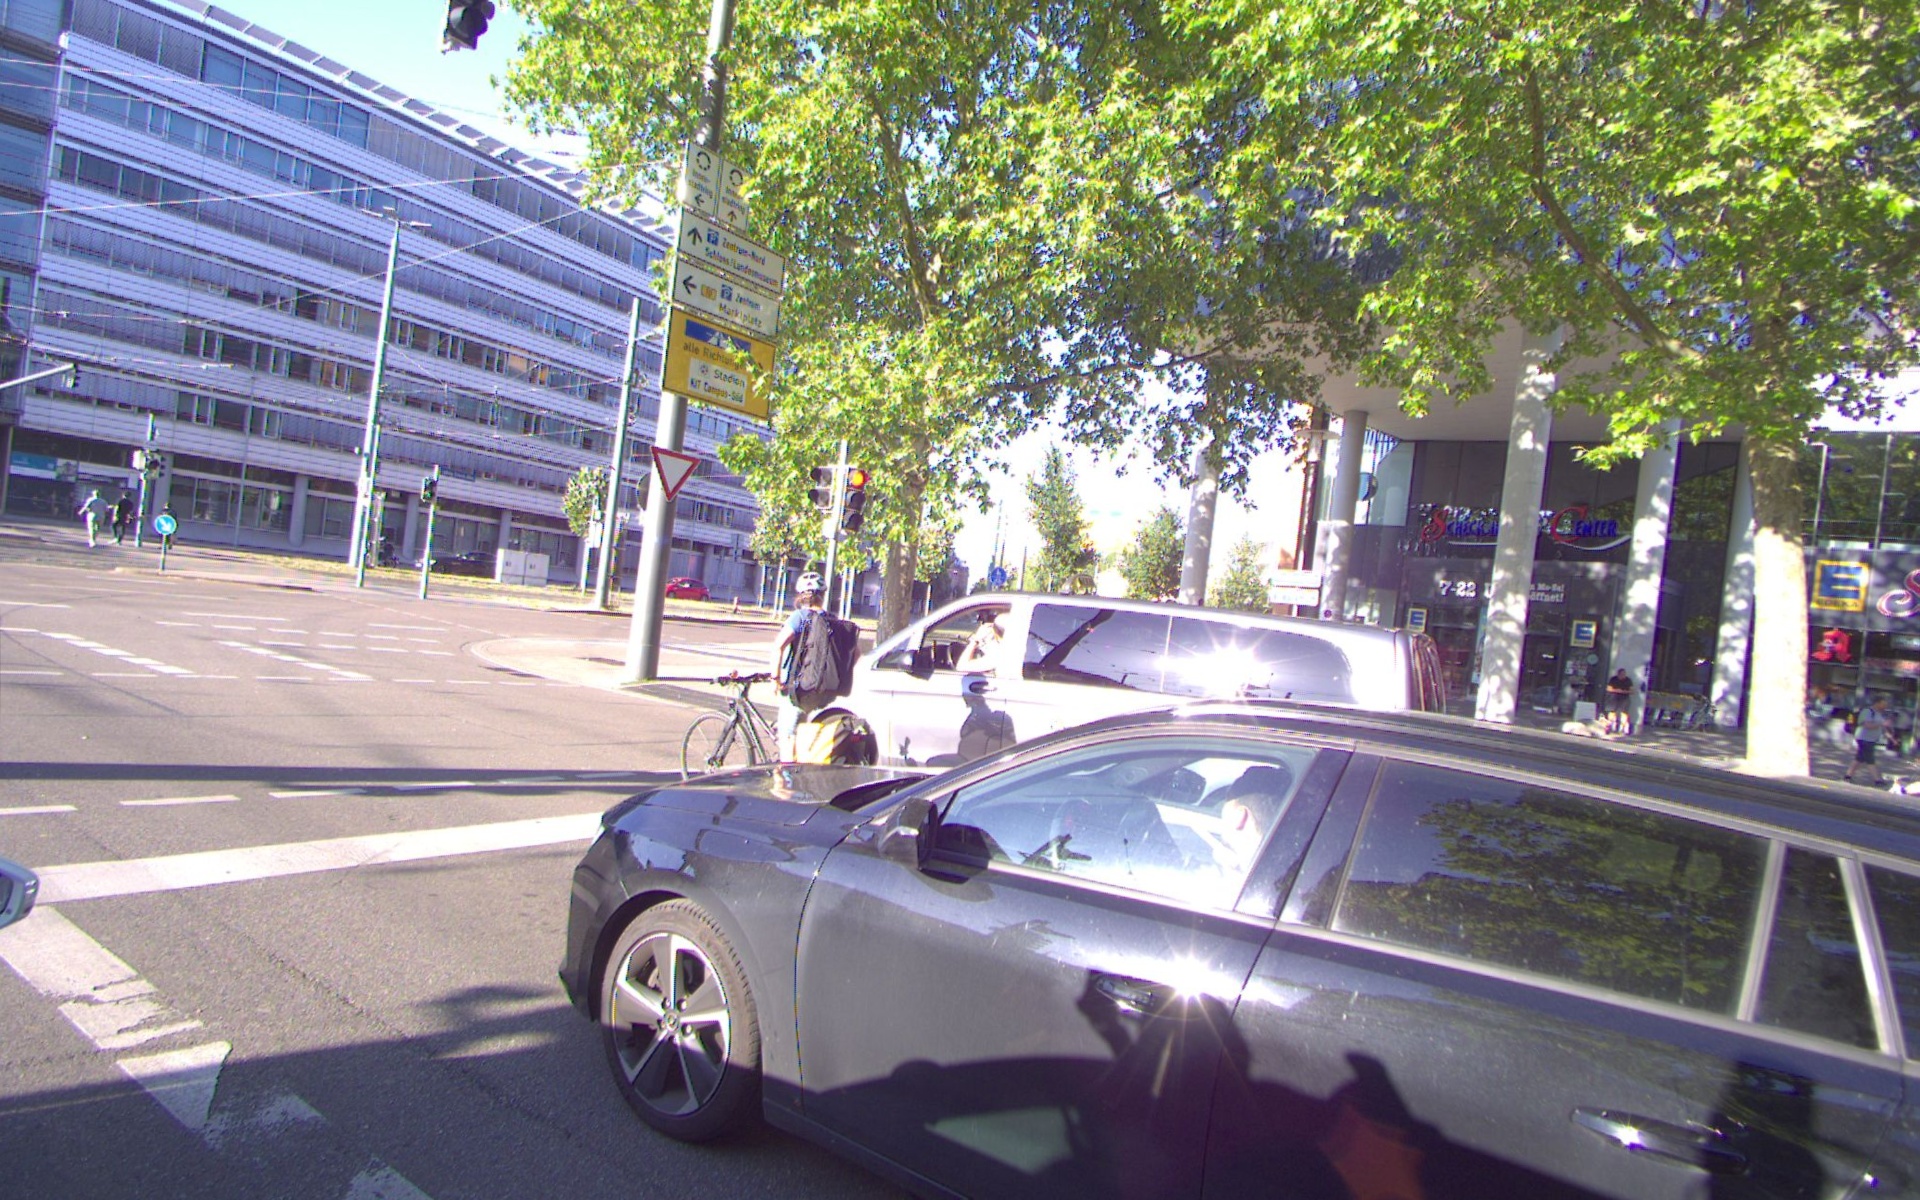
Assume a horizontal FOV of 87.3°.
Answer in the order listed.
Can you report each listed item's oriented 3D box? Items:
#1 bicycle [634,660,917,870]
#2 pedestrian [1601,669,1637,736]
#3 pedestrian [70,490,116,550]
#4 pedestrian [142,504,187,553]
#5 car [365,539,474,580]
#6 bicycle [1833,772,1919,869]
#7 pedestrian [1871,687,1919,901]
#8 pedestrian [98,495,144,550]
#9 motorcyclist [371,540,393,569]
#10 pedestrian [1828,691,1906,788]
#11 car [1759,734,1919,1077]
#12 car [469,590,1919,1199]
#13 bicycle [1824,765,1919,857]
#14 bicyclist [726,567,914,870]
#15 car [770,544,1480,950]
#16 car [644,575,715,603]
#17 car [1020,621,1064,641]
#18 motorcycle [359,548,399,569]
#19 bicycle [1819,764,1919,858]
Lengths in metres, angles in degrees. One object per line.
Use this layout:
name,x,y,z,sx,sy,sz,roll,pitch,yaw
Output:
bicycle,-1.247,1.014,6.606,1.839,0.993,0.561,7,1,32
pedestrian,17.536,2.738,26.767,0.598,1.707,0.511,6,1,-41
pedestrian,-28.401,-2.617,32.958,0.858,1.811,0.863,7,1,37
pedestrian,-28.121,-2.520,35.568,0.883,1.583,0.947,7,1,39
car,-25.665,-1.896,47.872,1.758,1.415,4.157,7,0,37
bicycle,10.545,2.480,11.095,1.233,0.898,0.462,7,1,32
pedestrian,8.550,1.698,8.667,0.751,1.799,0.647,7,1,31
pedestrian,-28.901,-2.666,34.647,1.020,1.706,0.912,7,1,39
motorcyclist,-28.200,-2.223,49.071,0.452,1.291,0.712,7,1,36
pedestrian,18.482,2.837,20.511,0.596,1.805,0.881,6,1,-29
car,6.535,1.751,4.596,4.181,1.503,1.741,7,0,31
car,0.800,0.973,2.731,4.199,1.431,1.742,7,-2,32
bicycle,11.501,2.608,12.354,0.460,0.938,1.210,6,0,-39
bicyclist,-0.872,0.706,6.318,0.766,1.714,0.632,7,1,32
car,1.130,0.845,7.954,5.012,2.004,1.939,7,0,31
car,-17.678,-0.677,63.487,1.758,1.411,3.984,7,1,37
car,7.568,2.884,92.294,1.758,1.353,4.605,7,0,37
motorcycle,-28.282,-2.021,48.971,0.460,0.820,1.568,7,0,36
bicycle,11.204,2.545,12.082,0.437,0.930,1.210,6,0,-39
